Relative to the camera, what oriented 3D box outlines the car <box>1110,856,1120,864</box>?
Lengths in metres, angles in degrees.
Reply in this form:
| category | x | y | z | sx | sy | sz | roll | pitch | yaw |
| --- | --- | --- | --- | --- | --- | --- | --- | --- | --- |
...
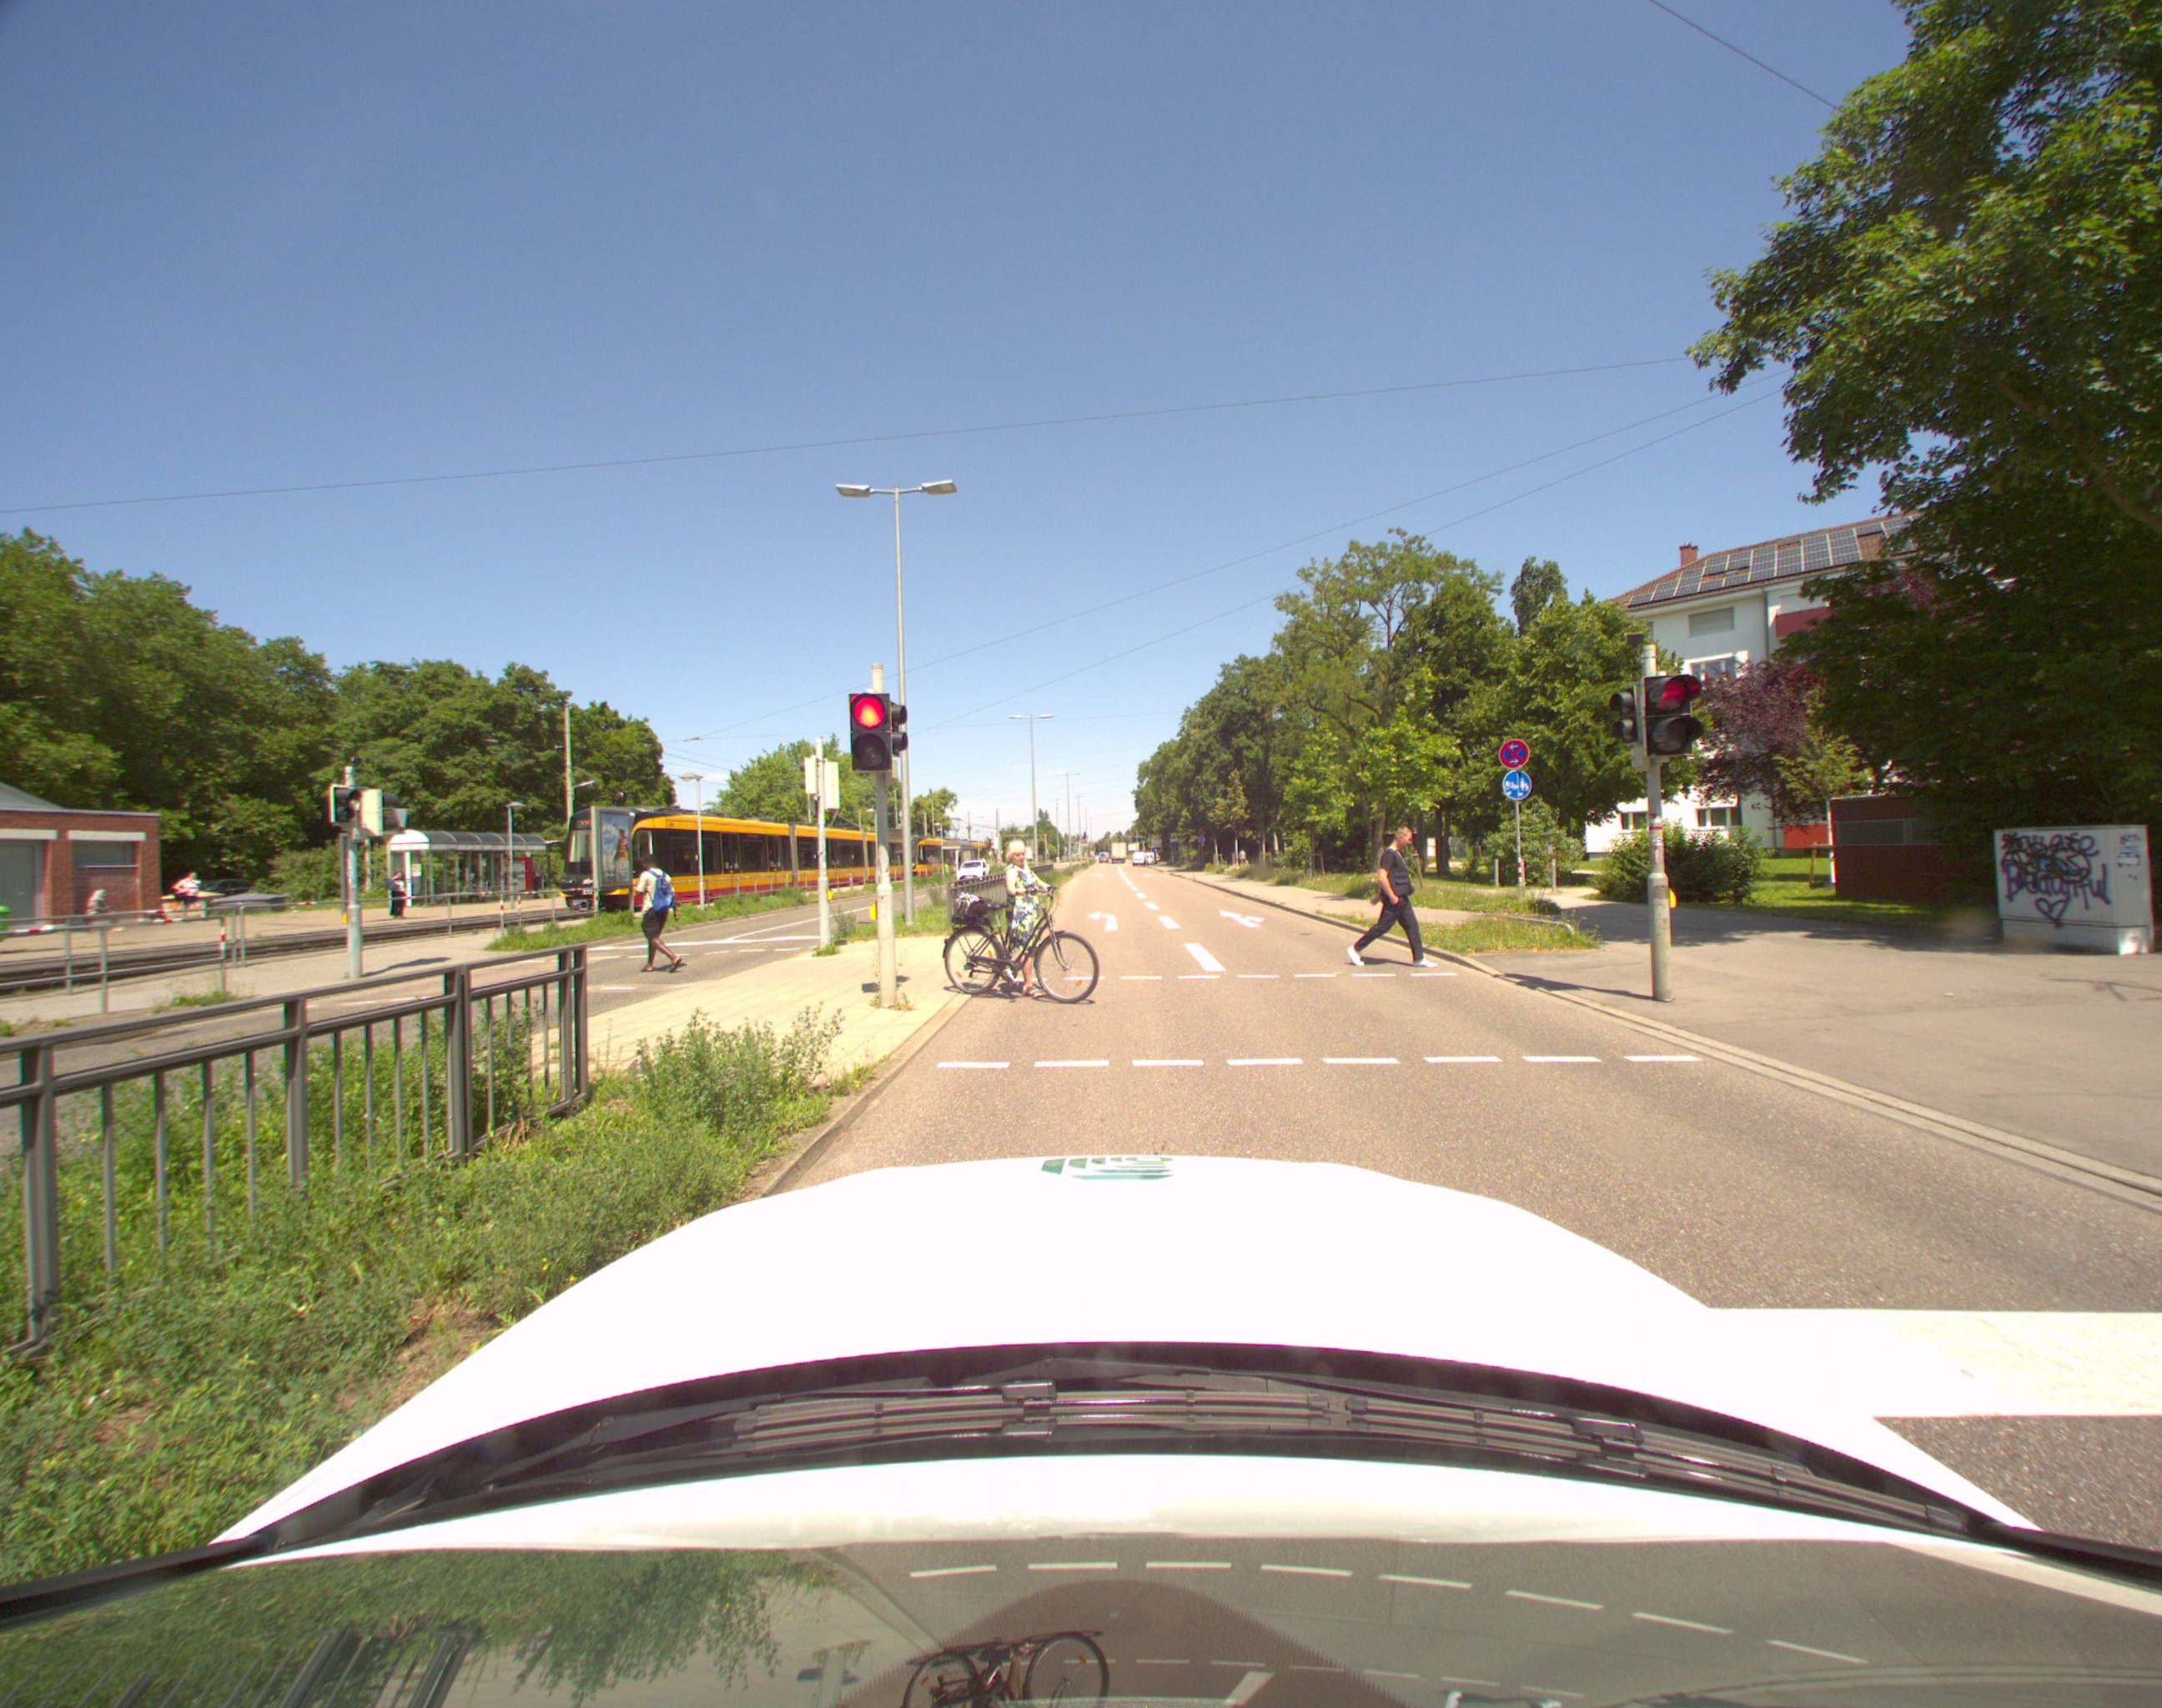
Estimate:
| category | x | y | z | sx | sy | sz | roll | pitch | yaw |
| --- | --- | --- | --- | --- | --- | --- | --- | --- | --- |
| car | 6.492 | 1.146 | 153.694 | 1.804 | 1.464 | 4.002 | -2 | 0 | 2 |

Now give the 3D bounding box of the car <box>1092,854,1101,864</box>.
| category | x | y | z | sx | sy | sz | roll | pitch | yaw |
| --- | --- | --- | --- | --- | --- | --- | --- | --- | --- |
| car | 3.332 | 1.098 | 175.338 | 1.986 | 2.013 | 4.002 | -2 | 0 | 2 |

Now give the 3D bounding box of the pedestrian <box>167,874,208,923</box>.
| category | x | y | z | sx | sy | sz | roll | pitch | yaw |
| --- | --- | --- | --- | --- | --- | --- | --- | --- | --- |
| pedestrian | -27.381 | 1.345 | 24.960 | 0.634 | 1.456 | 0.585 | -2 | 0 | 16 |

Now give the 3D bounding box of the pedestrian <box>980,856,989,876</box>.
| category | x | y | z | sx | sy | sz | roll | pitch | yaw |
| --- | --- | --- | --- | --- | --- | --- | --- | --- | --- |
| pedestrian | -10.127 | 1.255 | 85.372 | 0.812 | 2.013 | 0.939 | -2 | 0 | 1 |

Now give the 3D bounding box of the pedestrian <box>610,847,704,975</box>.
| category | x | y | z | sx | sy | sz | roll | pitch | yaw |
| --- | --- | --- | --- | --- | --- | --- | --- | --- | --- |
| pedestrian | -6.326 | 0.832 | 12.195 | 0.837 | 1.777 | 0.720 | -5 | 2 | 1 |

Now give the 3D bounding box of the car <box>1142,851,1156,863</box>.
| category | x | y | z | sx | sy | sz | roll | pitch | yaw |
| --- | --- | --- | --- | --- | --- | --- | --- | --- | --- |
| car | 9.912 | 0.462 | 118.767 | 1.773 | 1.668 | 4.002 | -2 | 0 | 2 |

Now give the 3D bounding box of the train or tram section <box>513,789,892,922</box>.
| category | x | y | z | sx | sy | sz | roll | pitch | yaw |
| --- | --- | --- | --- | --- | --- | --- | --- | --- | --- |
| train or tram section | -14.420 | 0.038 | 38.557 | 2.946 | 3.749 | 30.044 | -2 | 0 | 2 |

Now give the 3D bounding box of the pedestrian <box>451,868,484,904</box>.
| category | x | y | z | sx | sy | sz | roll | pitch | yaw |
| --- | --- | --- | --- | --- | --- | --- | --- | --- | --- |
| pedestrian | -26.281 | 1.377 | 34.902 | 0.836 | 1.511 | 0.723 | -2 | 0 | 12 |

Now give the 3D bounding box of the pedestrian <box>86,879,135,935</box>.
| category | x | y | z | sx | sy | sz | roll | pitch | yaw |
| --- | --- | --- | --- | --- | --- | --- | --- | --- | --- |
| pedestrian | -26.677 | 1.443 | 22.389 | 0.636 | 1.480 | 0.570 | -2 | 0 | 1 |

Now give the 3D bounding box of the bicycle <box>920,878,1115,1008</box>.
| category | x | y | z | sx | sy | sz | roll | pitch | yaw |
| --- | --- | --- | --- | --- | --- | --- | --- | --- | --- |
| bicycle | -0.671 | 0.883 | 8.453 | 1.941 | 1.161 | 0.544 | 2 | 2 | 19 |

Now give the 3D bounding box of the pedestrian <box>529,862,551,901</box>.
| category | x | y | z | sx | sy | sz | roll | pitch | yaw |
| --- | --- | --- | --- | --- | --- | --- | --- | --- | --- |
| pedestrian | -25.811 | 1.306 | 38.859 | 0.725 | 1.800 | 0.835 | -1 | -1 | -41 |

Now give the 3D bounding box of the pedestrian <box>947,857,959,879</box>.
| category | x | y | z | sx | sy | sz | roll | pitch | yaw |
| --- | --- | --- | --- | --- | --- | --- | --- | --- | --- |
| pedestrian | -10.976 | 1.204 | 69.735 | 0.783 | 1.868 | 0.818 | -2 | 0 | 1 |

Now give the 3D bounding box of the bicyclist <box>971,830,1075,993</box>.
| category | x | y | z | sx | sy | sz | roll | pitch | yaw |
| --- | --- | --- | --- | --- | --- | --- | --- | --- | --- |
| bicyclist | -0.625 | 0.587 | 8.843 | 0.949 | 1.666 | 0.583 | 1 | 2 | 19 |

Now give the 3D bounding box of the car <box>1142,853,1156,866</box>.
| category | x | y | z | sx | sy | sz | roll | pitch | yaw |
| --- | --- | --- | --- | --- | --- | --- | --- | --- | --- |
| car | 9.390 | 0.720 | 112.426 | 1.773 | 1.668 | 4.002 | -2 | 0 | 2 |

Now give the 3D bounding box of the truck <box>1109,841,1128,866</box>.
| category | x | y | z | sx | sy | sz | roll | pitch | yaw |
| --- | --- | --- | --- | --- | --- | --- | --- | --- | --- |
| truck | 6.781 | -0.080 | 146.198 | 3.193 | 4.359 | 6.563 | -2 | 0 | 2 |

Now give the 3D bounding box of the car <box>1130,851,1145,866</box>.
| category | x | y | z | sx | sy | sz | roll | pitch | yaw |
| --- | --- | --- | --- | --- | --- | --- | --- | --- | --- |
| car | 7.290 | 0.564 | 105.489 | 1.773 | 1.903 | 4.002 | -2 | 0 | 2 |

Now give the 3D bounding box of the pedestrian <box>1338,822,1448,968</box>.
| category | x | y | z | sx | sy | sz | roll | pitch | yaw |
| --- | --- | --- | --- | --- | --- | --- | --- | --- | --- |
| pedestrian | 4.077 | 0.520 | 10.635 | 1.173 | 1.778 | 0.845 | -2 | -2 | 32 |

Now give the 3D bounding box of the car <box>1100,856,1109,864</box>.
| category | x | y | z | sx | sy | sz | roll | pitch | yaw |
| --- | --- | --- | --- | --- | --- | --- | --- | --- | --- |
| car | 4.492 | 1.153 | 155.407 | 1.804 | 1.464 | 4.002 | -2 | 0 | 2 |

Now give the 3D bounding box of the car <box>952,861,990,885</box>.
| category | x | y | z | sx | sy | sz | roll | pitch | yaw |
| --- | --- | --- | --- | --- | --- | --- | --- | --- | --- |
| car | -7.215 | 1.228 | 53.671 | 1.838 | 1.494 | 3.793 | -2 | 0 | 2 |

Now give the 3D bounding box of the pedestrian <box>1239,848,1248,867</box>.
| category | x | y | z | sx | sy | sz | roll | pitch | yaw |
| --- | --- | --- | --- | --- | --- | --- | --- | --- | --- |
| pedestrian | 12.229 | 0.250 | 61.125 | 0.600 | 1.438 | 0.557 | -2 | 0 | 8 |

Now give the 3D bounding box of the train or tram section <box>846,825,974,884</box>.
| category | x | y | z | sx | sy | sz | roll | pitch | yaw |
| --- | --- | --- | --- | --- | --- | --- | --- | --- | --- |
| train or tram section | -13.397 | 0.048 | 70.041 | 2.920 | 3.789 | 33.100 | -2 | 0 | 2 |

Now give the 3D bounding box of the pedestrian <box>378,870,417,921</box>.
| category | x | y | z | sx | sy | sz | roll | pitch | yaw |
| --- | --- | --- | --- | --- | --- | --- | --- | --- | --- |
| pedestrian | -21.540 | 1.296 | 25.669 | 0.635 | 1.555 | 0.691 | -2 | 0 | -11 |
